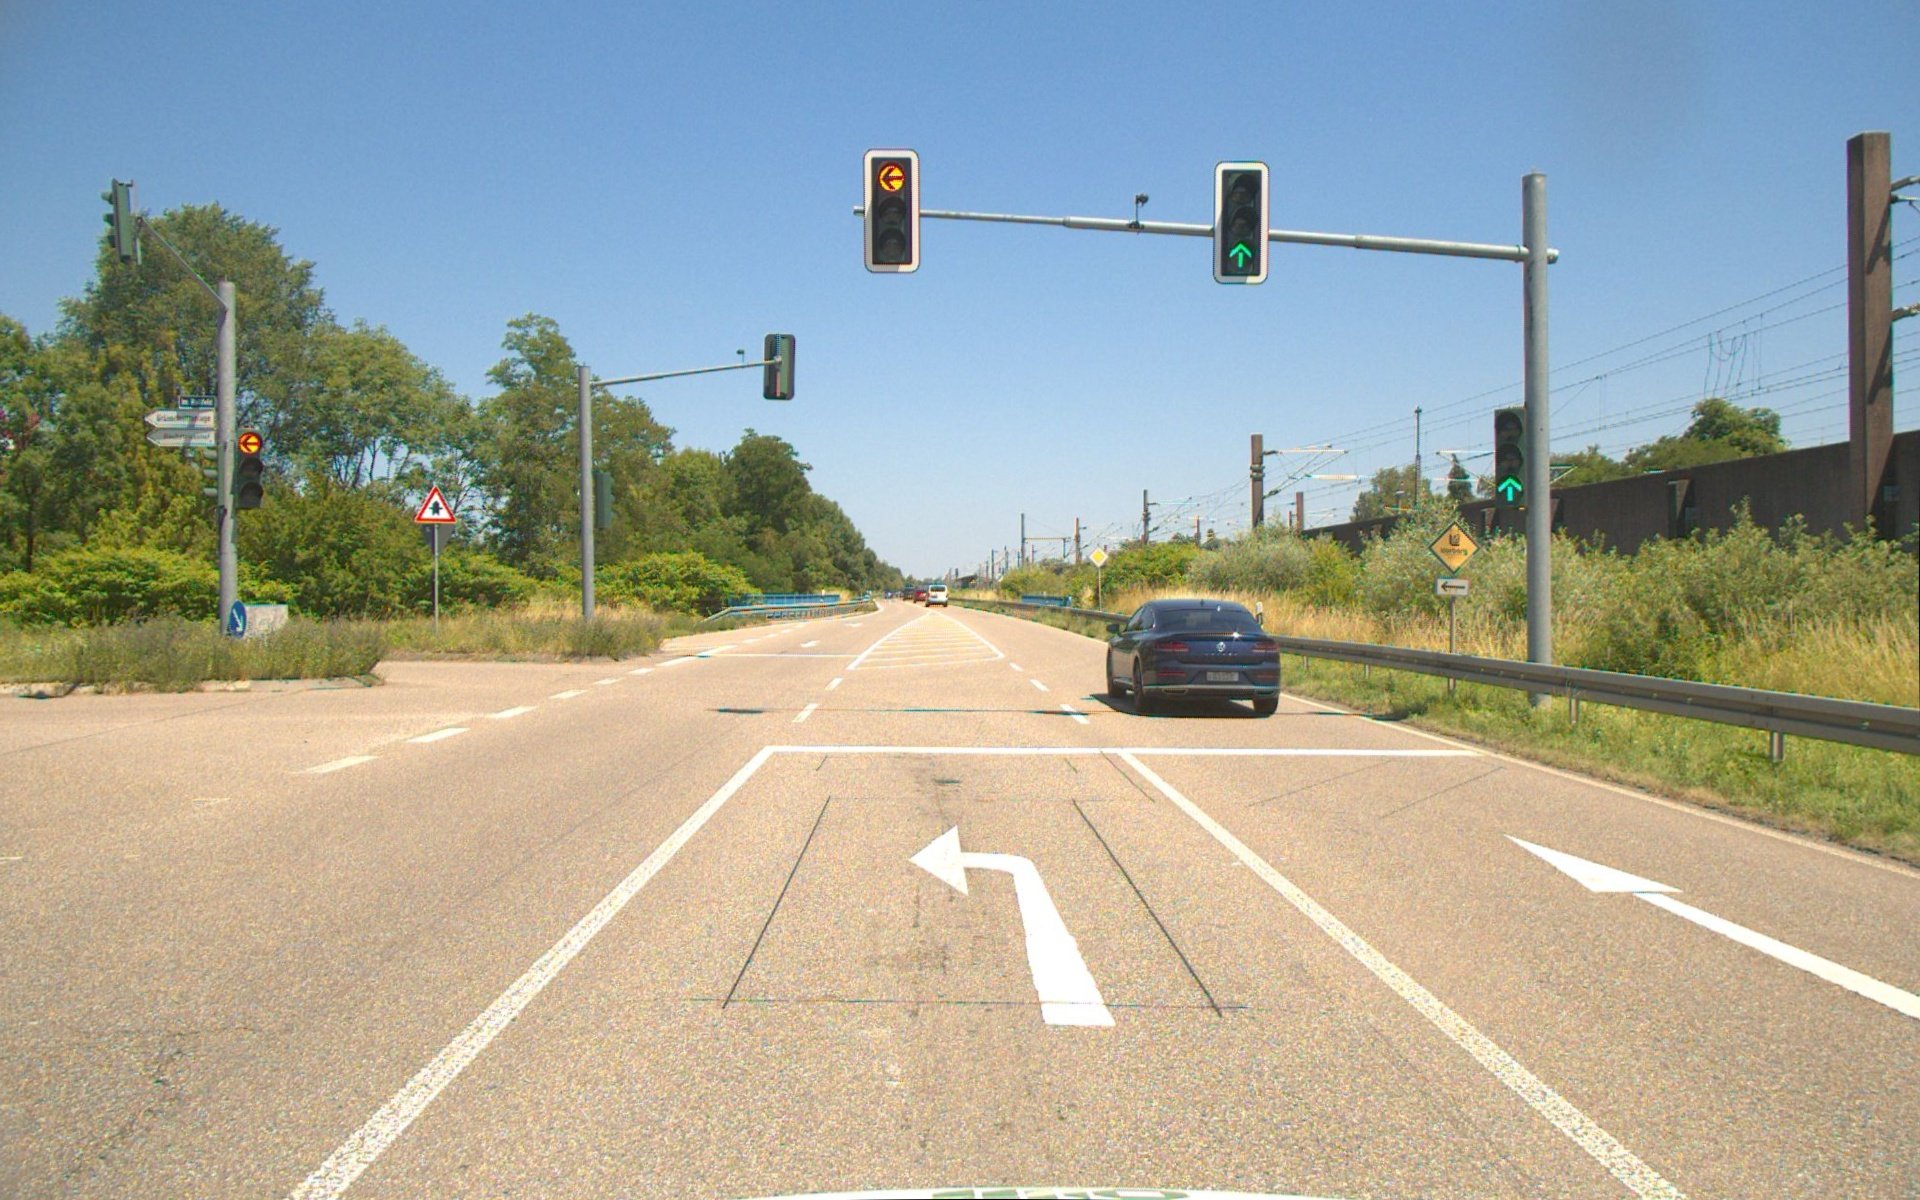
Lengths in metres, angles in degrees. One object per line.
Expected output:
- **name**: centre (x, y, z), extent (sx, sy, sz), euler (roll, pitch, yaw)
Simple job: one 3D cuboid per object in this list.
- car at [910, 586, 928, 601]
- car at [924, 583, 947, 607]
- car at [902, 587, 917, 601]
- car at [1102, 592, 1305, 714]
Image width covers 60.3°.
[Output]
- **car**: centre (-4.873, -0.725, 194.515), extent (1.979, 1.756, 4.540), euler (0, 0, -3)
- **car**: centre (-2.219, -0.453, 147.274), extent (1.953, 2.018, 4.058), euler (1, 0, -2)
- **car**: centre (-7.707, -0.945, 252.192), extent (2.112, 2.002, 4.540), euler (0, 0, -3)
- **car**: centre (3.103, 0.627, 21.973), extent (1.819, 1.404, 4.501), euler (1, 1, -3)
